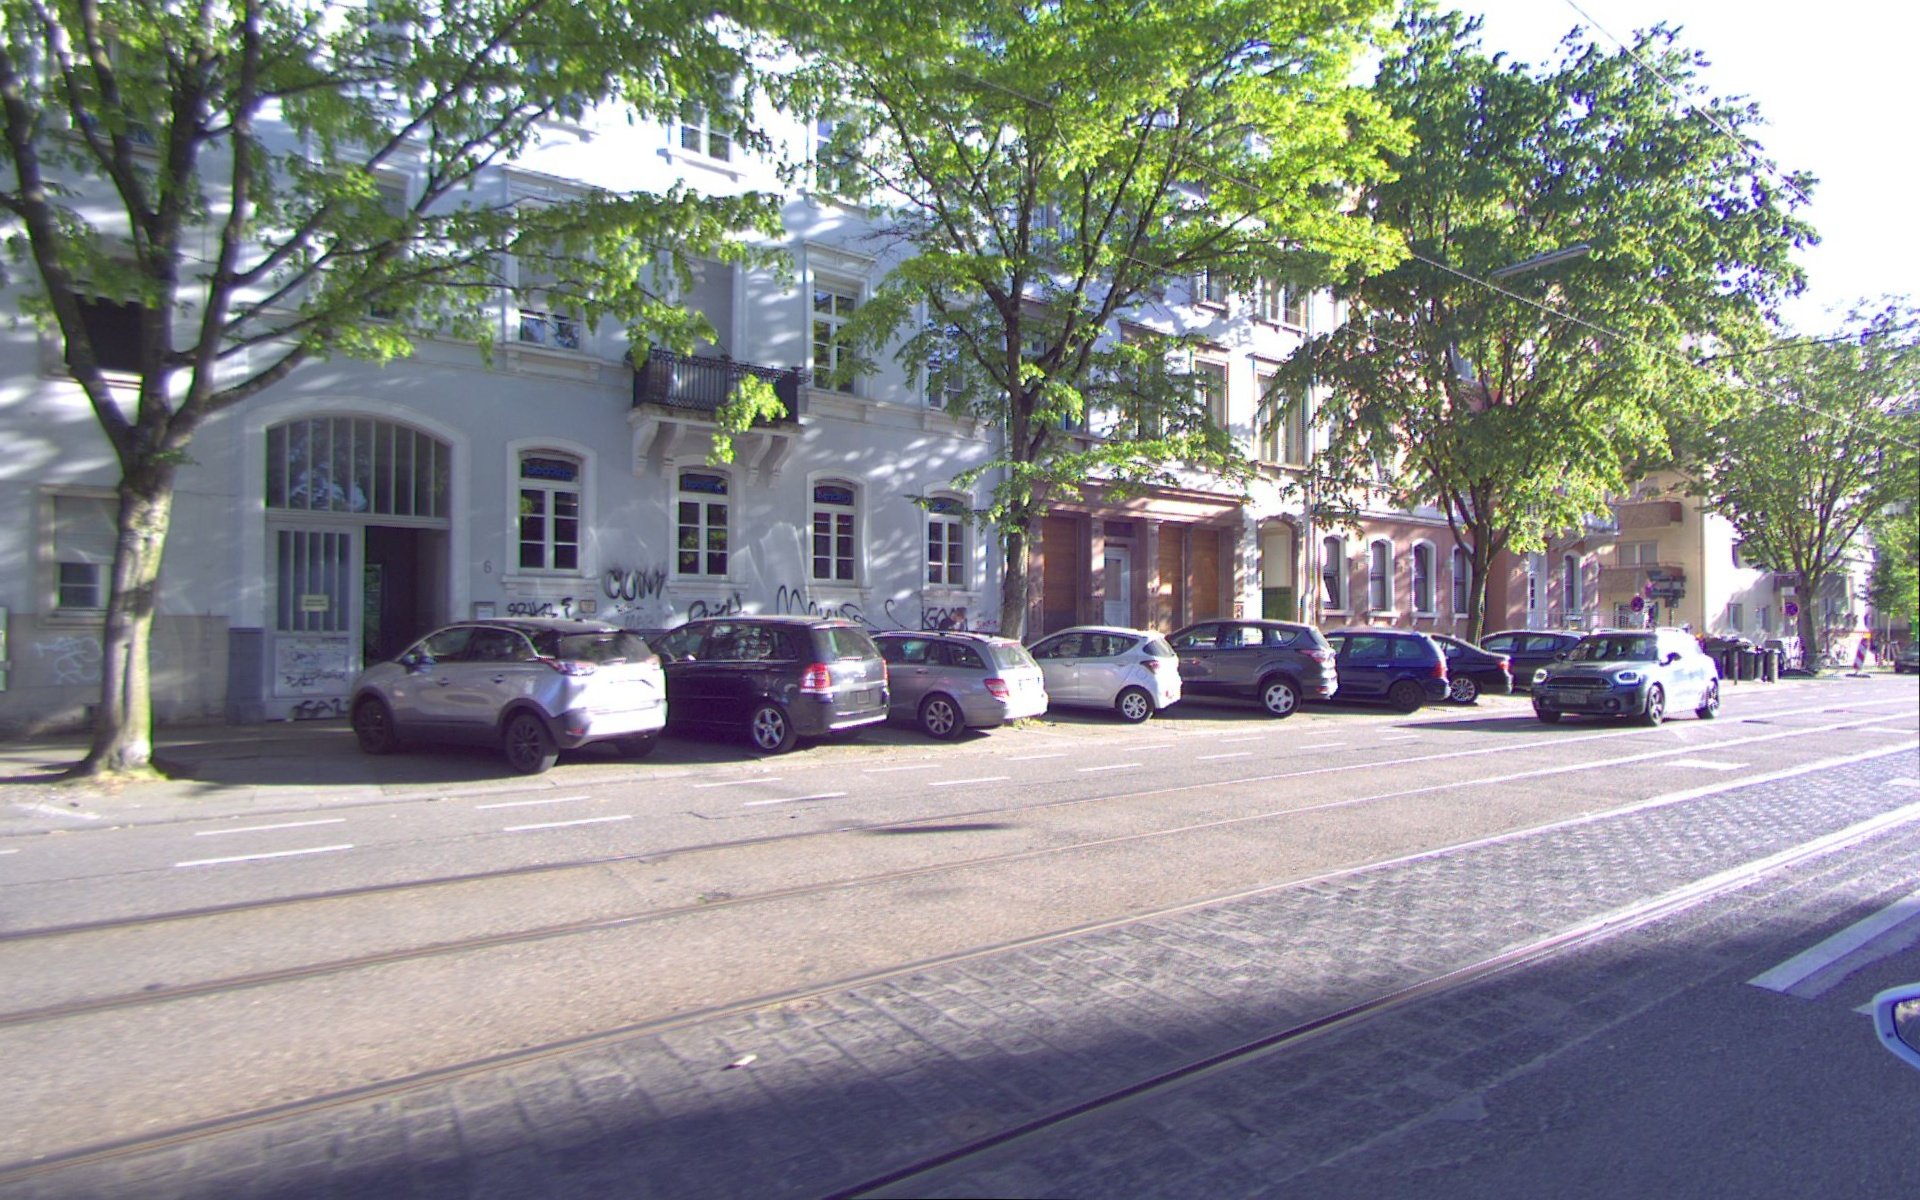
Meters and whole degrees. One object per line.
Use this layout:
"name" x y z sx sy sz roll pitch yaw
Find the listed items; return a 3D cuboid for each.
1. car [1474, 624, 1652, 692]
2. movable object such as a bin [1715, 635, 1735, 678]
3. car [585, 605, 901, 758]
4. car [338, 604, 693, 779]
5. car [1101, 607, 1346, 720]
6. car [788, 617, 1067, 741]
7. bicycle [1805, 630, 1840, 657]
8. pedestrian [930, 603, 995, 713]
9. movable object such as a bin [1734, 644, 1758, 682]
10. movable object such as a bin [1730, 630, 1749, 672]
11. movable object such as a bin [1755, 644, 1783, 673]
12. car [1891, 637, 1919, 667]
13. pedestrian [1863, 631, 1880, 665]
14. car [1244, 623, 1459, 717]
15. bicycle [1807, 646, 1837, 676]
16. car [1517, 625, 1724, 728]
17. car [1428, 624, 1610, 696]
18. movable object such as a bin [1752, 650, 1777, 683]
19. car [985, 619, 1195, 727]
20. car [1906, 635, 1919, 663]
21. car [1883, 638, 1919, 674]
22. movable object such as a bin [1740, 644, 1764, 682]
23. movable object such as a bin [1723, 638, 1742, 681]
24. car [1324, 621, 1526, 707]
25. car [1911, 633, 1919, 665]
"car" 16.308 1.534 27.376 3.839 1.542 1.735 2 1 19
"movable object such as a bin" 25.883 1.915 33.989 0.382 1.445 0.379 1 -2 -22
"car" -2.881 0.972 13.271 3.799 1.676 1.771 1 -1 28
"car" -5.202 0.947 11.724 3.799 1.676 1.771 1 -1 27
"car" 5.008 1.136 19.126 4.205 1.745 1.706 3 0 25
"car" -0.498 1.091 14.995 3.751 1.505 1.769 2 -1 27
"bicycle" 45.767 2.292 53.295 2.982 1.416 0.712 2 -2 -36
"pedestrian" 0.039 0.962 16.812 0.803 1.778 0.756 2 -2 -45
"movable object such as a bin" 25.986 2.079 33.209 0.630 1.218 0.379 1 -2 -22
"movable object such as a bin" 26.632 1.741 34.320 0.382 1.445 0.379 1 -2 -22
"movable object such as a bin" 31.501 2.272 39.110 1.133 1.141 0.424 2 -2 -28
"car" 48.801 2.634 49.168 4.438 1.444 1.869 1 -1 33
"pedestrian" 46.916 2.466 51.693 0.484 1.693 0.509 1 -2 -28
"car" 7.956 1.370 20.621 3.908 1.638 1.635 2 0 21
"bicycle" 32.825 2.304 38.242 1.385 1.131 0.263 1 -2 -22
"car" 11.865 1.275 17.941 4.389 1.622 1.856 2 -2 -39
"car" 13.946 1.455 25.317 3.848 1.528 1.688 2 1 25
"movable object such as a bin" 27.178 2.242 33.940 0.630 1.082 0.379 1 -2 -22
"car" 2.273 1.195 17.524 3.218 1.553 1.706 3 1 25
"car" 56.847 2.850 56.955 4.443 1.590 1.584 1 -2 37
"car" 41.356 2.397 42.872 4.242 1.429 1.698 2 0 -30
"movable object such as a bin" 26.535 2.098 33.658 0.630 1.258 0.379 1 -2 -22
"movable object such as a bin" 26.262 2.009 34.147 0.380 1.445 0.379 1 -2 -22
"car" 10.227 1.362 22.376 3.908 1.638 1.635 2 0 21
"car" 51.158 2.557 50.610 4.429 1.663 1.589 1 -1 24
